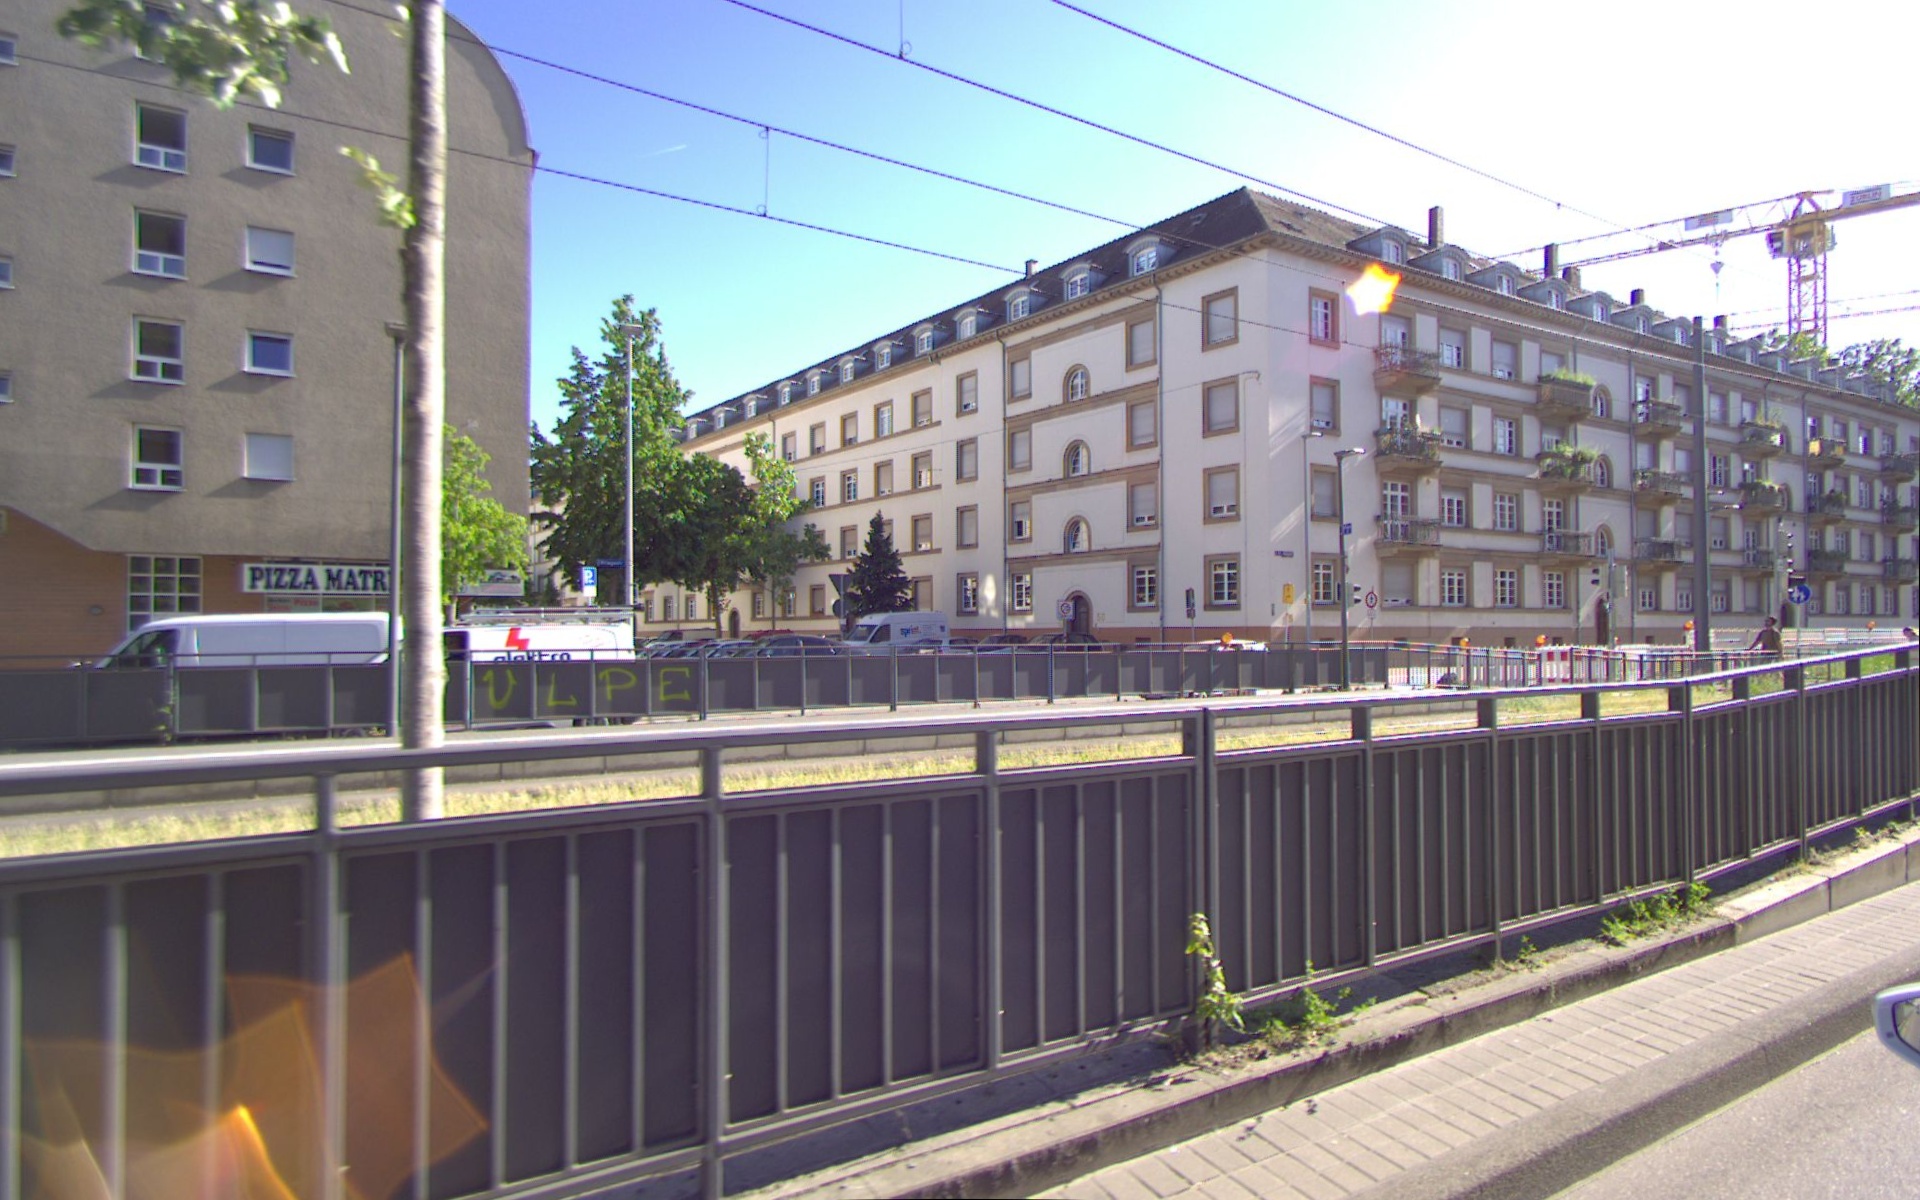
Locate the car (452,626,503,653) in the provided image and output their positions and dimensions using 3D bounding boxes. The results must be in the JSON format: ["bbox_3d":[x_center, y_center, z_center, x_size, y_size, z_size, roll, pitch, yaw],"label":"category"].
[{"bbox_3d":[-31.882,2.606,66.343,1.942,1.684,3.950,1,-2,-43],"label":"car"}]

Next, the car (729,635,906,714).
[{"bbox_3d":[-3.472,1.753,24.628,3.955,1.782,1.806,1,-2,-32],"label":"car"}]

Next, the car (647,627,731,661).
[{"bbox_3d":[-17.241,2.768,63.971,4.832,2.034,1.920,1,-2,-40],"label":"car"}]

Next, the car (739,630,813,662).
[{"bbox_3d":[-9.976,2.473,54.473,3.636,1.617,1.672,1,-2,-40],"label":"car"}]

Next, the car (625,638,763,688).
[{"bbox_3d":[-8.531,1.983,32.409,3.974,1.470,1.762,1,-2,-45],"label":"car"}]

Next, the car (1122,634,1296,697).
[{"bbox_3d":[5.849,1.490,23.488,3.916,1.303,1.686,2,-1,-32],"label":"car"}]

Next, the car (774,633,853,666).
[{"bbox_3d":[-7.328,2.456,50.353,3.636,1.542,1.672,1,-2,-40],"label":"car"}]

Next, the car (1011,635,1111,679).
[{"bbox_3d":[3.801,2.081,37.562,3.643,1.542,1.672,1,-2,-40],"label":"car"}]

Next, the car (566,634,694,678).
[{"bbox_3d":[-11.716,1.960,35.814,3.974,1.470,1.762,1,-2,-45],"label":"car"}]

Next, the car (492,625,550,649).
[{"bbox_3d":[-40.192,3.349,91.953,4.533,2.127,2.023,1,-2,-40],"label":"car"}]

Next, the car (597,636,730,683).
[{"bbox_3d":[-9.972,1.973,33.964,3.974,1.470,1.762,1,-2,-45],"label":"car"}]

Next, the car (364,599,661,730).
[{"bbox_3d":[-6.965,0.943,15.736,4.043,1.818,1.810,2,-1,-32],"label":"car"}]

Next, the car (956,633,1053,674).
[{"bbox_3d":[1.771,2.063,39.500,3.643,1.542,1.672,1,-2,-40],"label":"car"}]

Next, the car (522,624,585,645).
[{"bbox_3d":[-34.416,2.935,85.085,4.533,1.754,2.023,1,-2,-40],"label":"car"}]

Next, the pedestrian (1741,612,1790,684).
[{"bbox_3d":[20.639,1.212,25.759,0.852,1.804,0.907,0,-1,31],"label":"pedestrian"}]

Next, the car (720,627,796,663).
[{"bbox_3d":[-11.287,2.509,56.267,3.911,1.953,1.672,1,-2,-40],"label":"car"}]

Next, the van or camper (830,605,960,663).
[{"bbox_3d":[-2.838,1.525,45.112,5.912,2.432,1.976,1,-2,-42],"label":"van or camper"}]

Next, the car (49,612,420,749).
[{"bbox_3d":[-13.891,1.463,19.759,5.564,2.401,1.989,0,-1,-23],"label":"car"}]

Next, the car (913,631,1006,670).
[{"bbox_3d":[0.008,2.049,41.353,3.636,1.542,1.672,1,-2,-40],"label":"car"}]

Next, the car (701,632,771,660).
[{"bbox_3d":[-13.027,2.657,58.534,3.636,1.521,1.672,1,-2,-40],"label":"car"}]

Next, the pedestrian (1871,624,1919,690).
[{"bbox_3d":[22.907,1.378,24.448,0.899,1.557,0.861,1,-1,-30],"label":"pedestrian"}]
